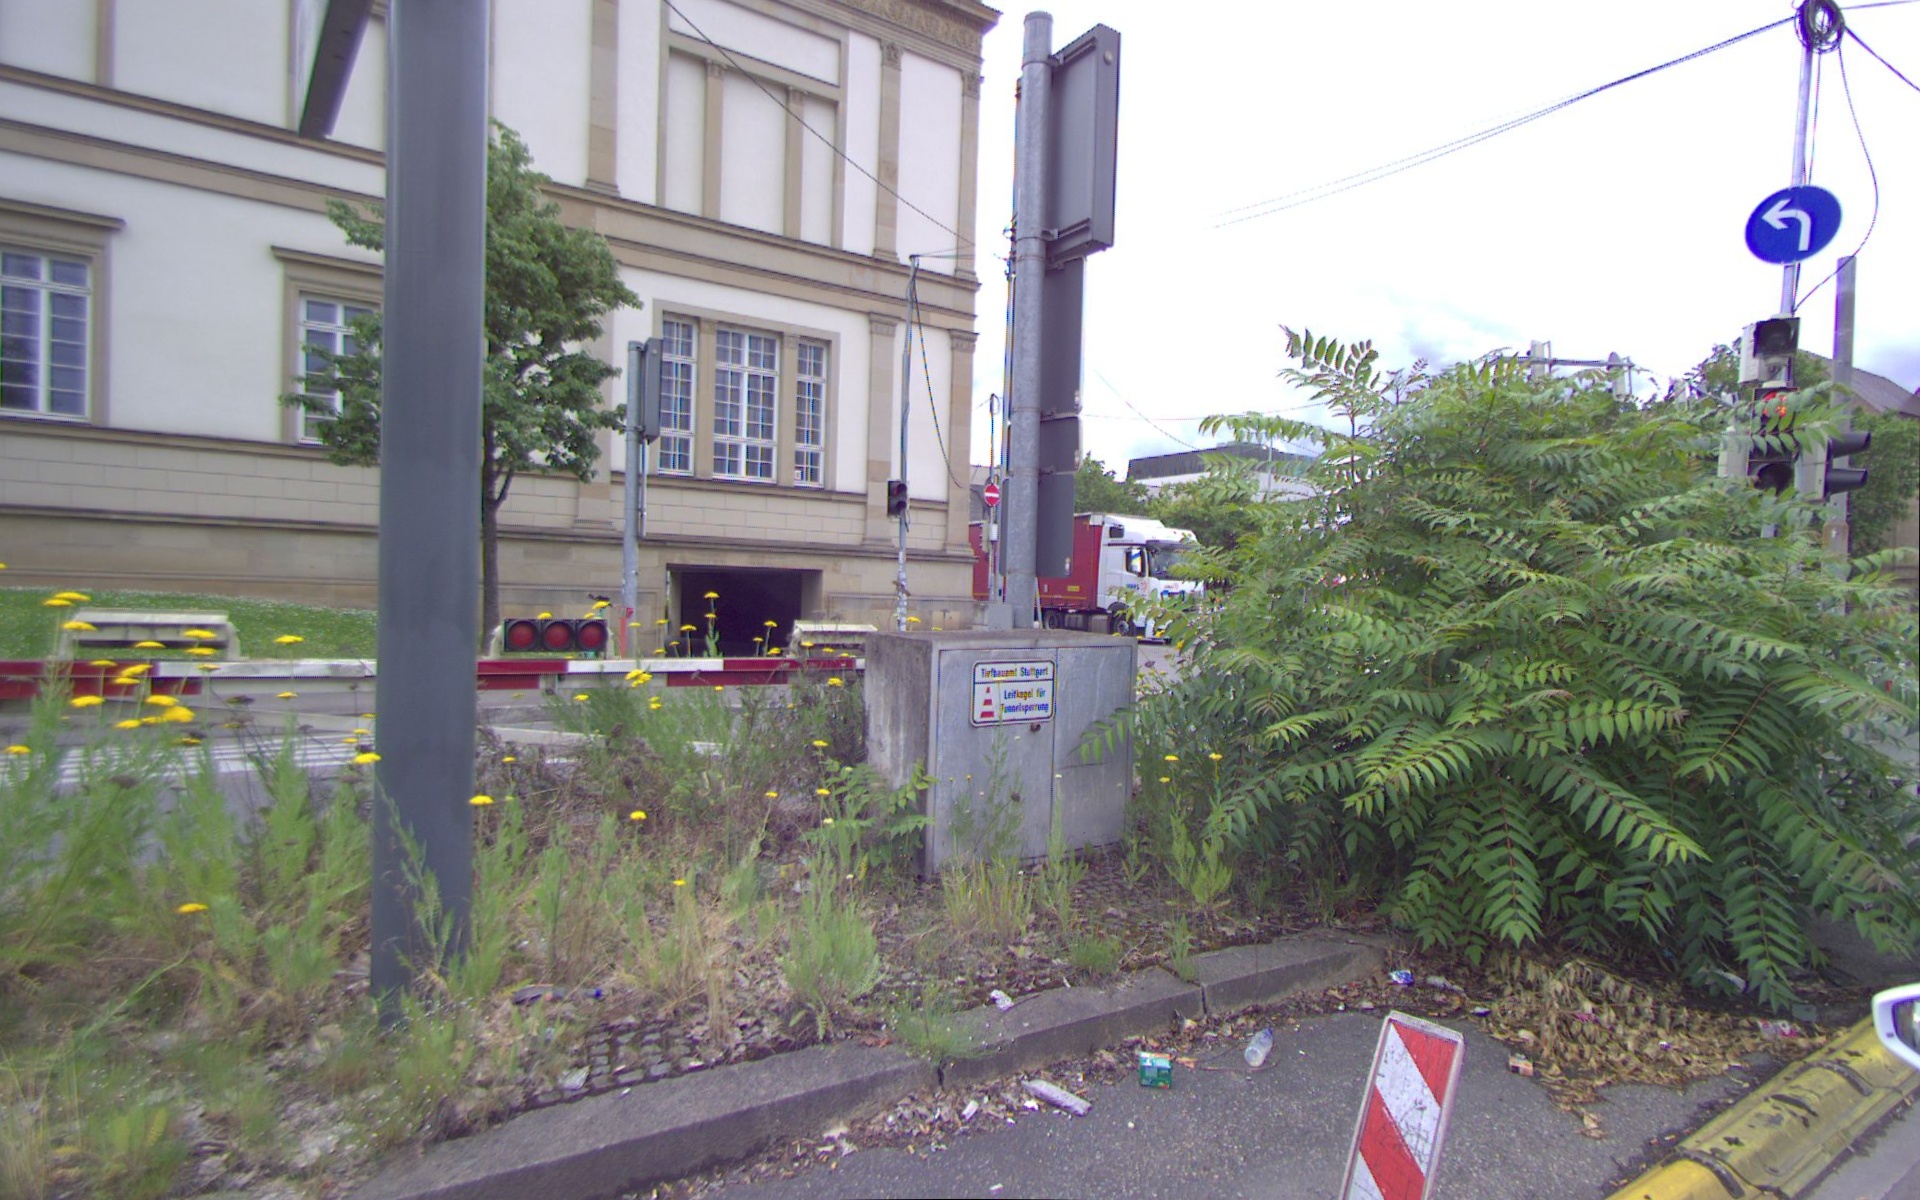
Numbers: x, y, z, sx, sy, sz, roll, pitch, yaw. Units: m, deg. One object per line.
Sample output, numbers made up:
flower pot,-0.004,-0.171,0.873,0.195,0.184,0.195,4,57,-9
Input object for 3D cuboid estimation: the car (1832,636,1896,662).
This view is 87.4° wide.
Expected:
car,53.130,2.888,59.041,3.637,1.417,1.669,2,0,-28

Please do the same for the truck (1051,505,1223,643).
truck,5.649,-0.768,32.708,2.915,4.118,4.846,2,0,-34

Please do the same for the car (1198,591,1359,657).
car,8.672,0.615,27.658,1.810,1.646,4.032,2,0,-31

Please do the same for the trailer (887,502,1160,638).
trailer,1.773,-1.012,38.722,2.916,4.338,13.662,2,0,-33
